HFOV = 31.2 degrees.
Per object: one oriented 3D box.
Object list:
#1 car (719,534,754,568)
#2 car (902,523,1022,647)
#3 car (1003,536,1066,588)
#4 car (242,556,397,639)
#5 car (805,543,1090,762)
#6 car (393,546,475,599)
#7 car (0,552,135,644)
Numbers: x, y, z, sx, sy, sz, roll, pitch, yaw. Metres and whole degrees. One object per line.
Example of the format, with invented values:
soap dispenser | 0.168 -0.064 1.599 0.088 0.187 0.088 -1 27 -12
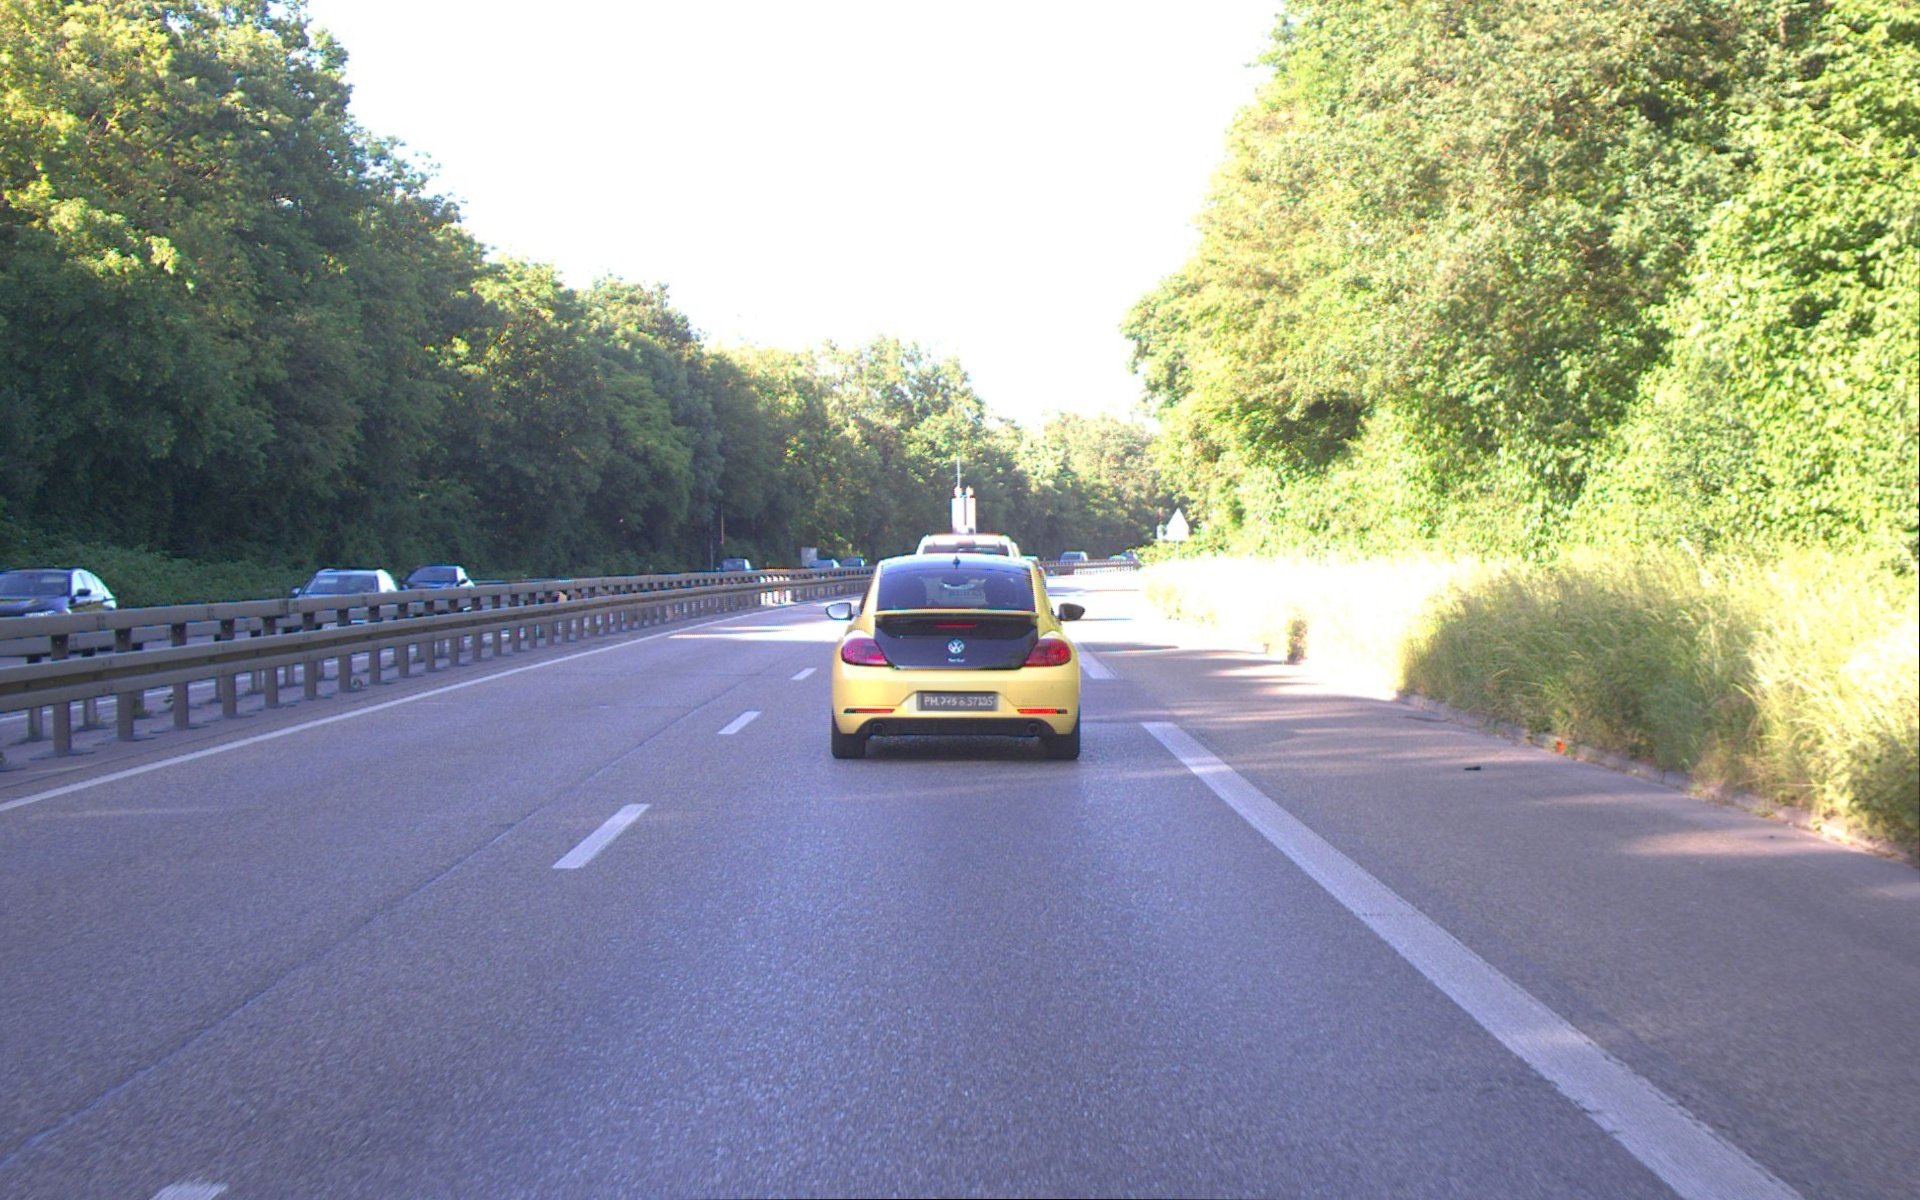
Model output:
car | -10.770 -2.378 165.789 1.414 1.614 2.875 -1 1 2
car | 0.058 -0.243 52.760 1.741 1.823 3.422 1 1 1
car | 2.786 -1.428 129.055 2.263 1.869 5.076 -2 1 1
car | -12.309 -0.081 66.345 1.993 1.459 4.740 -2 1 1
car | -0.025 0.336 25.490 1.939 1.503 3.422 0 1 3
car | -14.401 -0.758 94.289 1.606 1.418 4.000 0 1 1
car | -15.758 -0.046 58.792 1.993 1.459 4.902 -2 1 1
